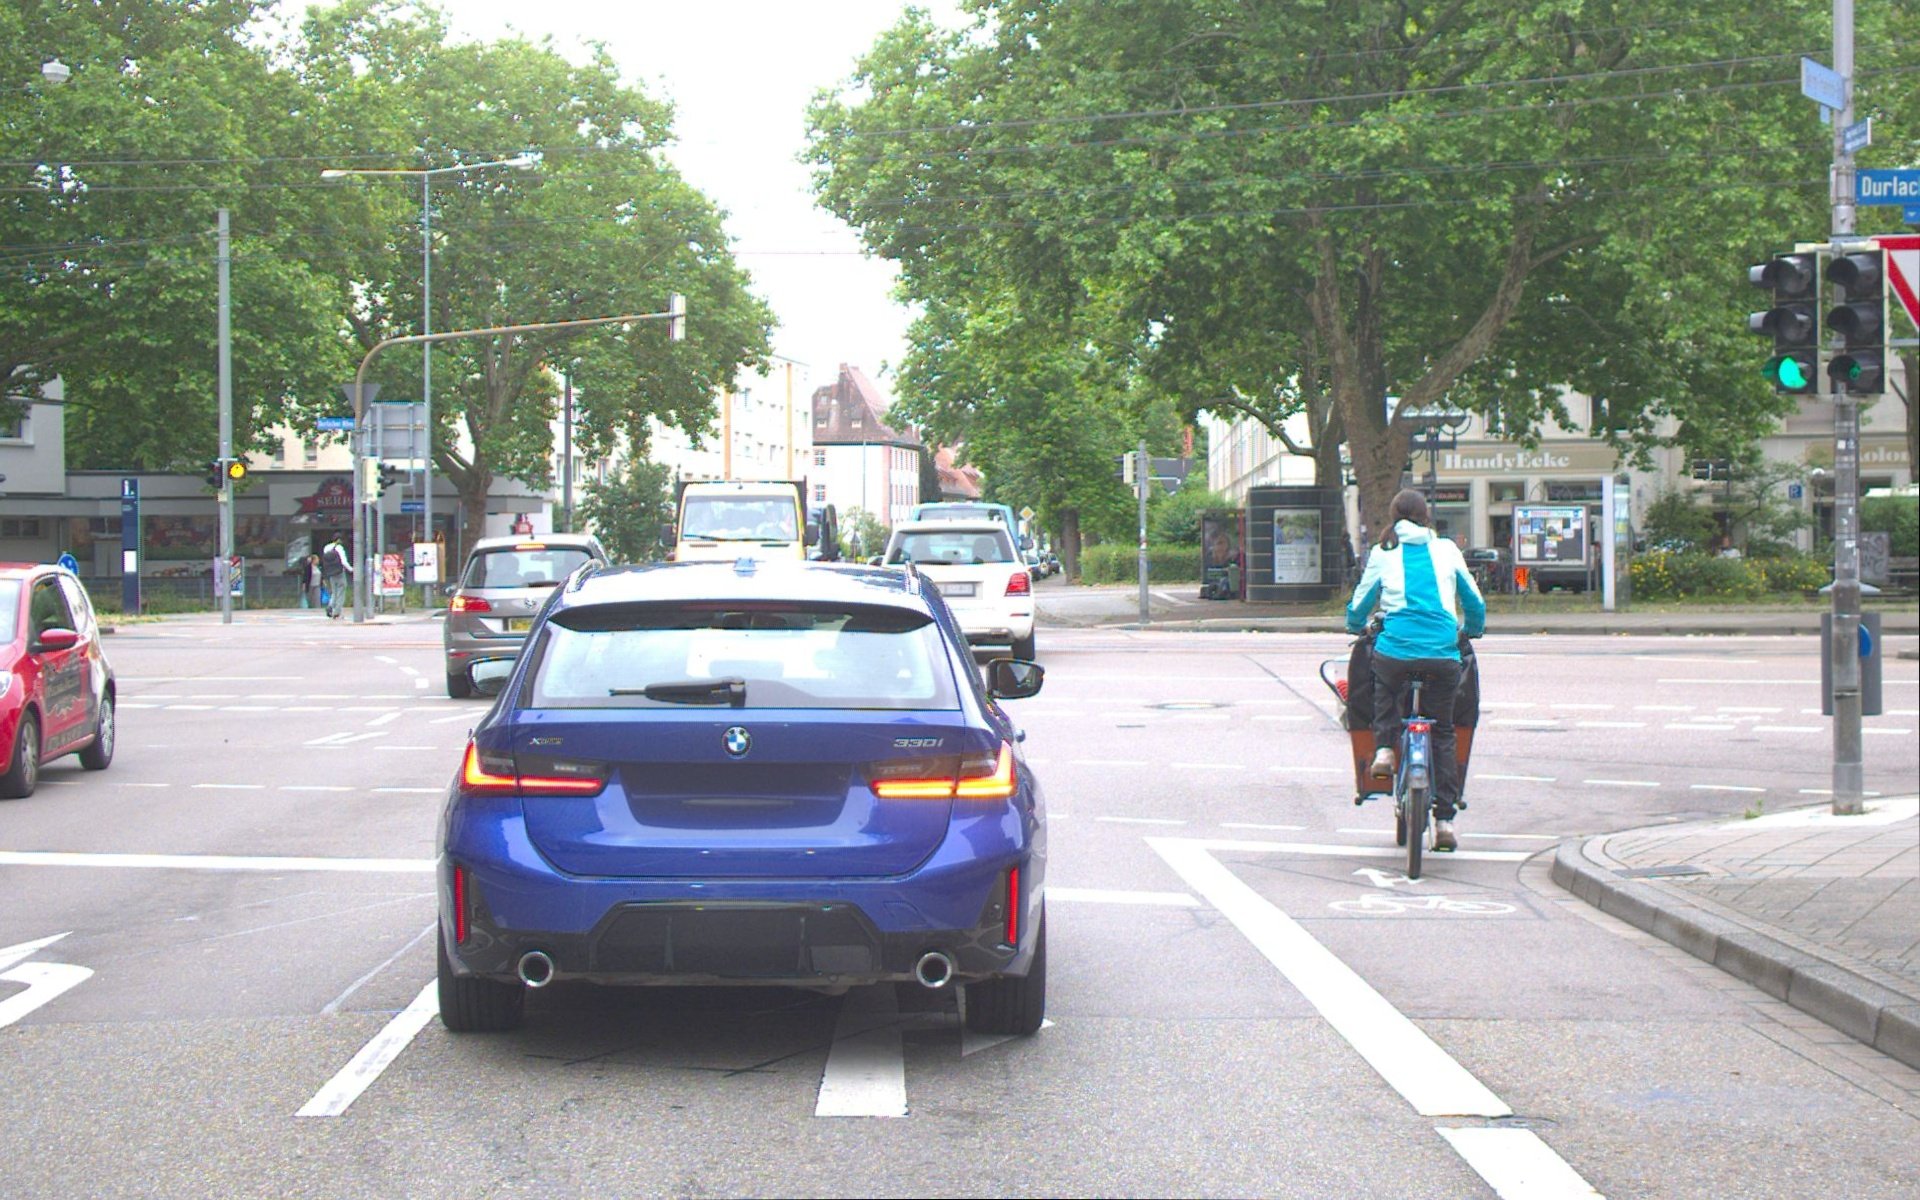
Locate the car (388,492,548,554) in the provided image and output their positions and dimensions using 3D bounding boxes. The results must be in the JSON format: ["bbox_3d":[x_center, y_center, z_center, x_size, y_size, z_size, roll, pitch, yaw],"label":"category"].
[{"bbox_3d":[-13.815,-2.145,96.584,3.987,1.700,2.000,0,0,-34],"label":"car"}]

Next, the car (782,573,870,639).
[{"bbox_3d":[-3.089,0.120,80.089,1.809,1.422,4.317,-1,1,1],"label":"car"}]

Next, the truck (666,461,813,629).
[{"bbox_3d":[-3.317,-0.854,52.684,2.074,2.400,5.463,-1,1,-2],"label":"truck"}]

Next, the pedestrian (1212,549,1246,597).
[{"bbox_3d":[7.329,-0.744,93.687,0.853,1.310,0.762,-1,1,0],"label":"pedestrian"}]

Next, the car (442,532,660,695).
[{"bbox_3d":[-4.050,0.090,34.581,1.732,1.519,4.000,-1,1,0],"label":"car"}]

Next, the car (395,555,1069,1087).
[{"bbox_3d":[-0.636,0.574,11.507,1.815,1.400,4.320,-1,1,0],"label":"car"}]

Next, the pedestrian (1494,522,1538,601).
[{"bbox_3d":[12.332,-0.861,76.291,0.784,1.737,0.925,-1,1,-2],"label":"pedestrian"}]

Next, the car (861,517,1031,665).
[{"bbox_3d":[-0.167,-0.137,39.203,1.815,1.586,4.000,-1,1,0],"label":"car"}]

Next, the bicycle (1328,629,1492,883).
[{"bbox_3d":[2.167,0.722,16.744,0.494,1.094,2.139,-1,1,0],"label":"bicycle"}]

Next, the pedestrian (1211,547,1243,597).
[{"bbox_3d":[7.352,-0.783,94.605,0.817,1.367,0.762,-1,1,0],"label":"pedestrian"}]

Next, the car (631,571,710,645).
[{"bbox_3d":[-8.271,0.213,98.562,1.920,2.007,3.936,-1,1,0],"label":"car"}]

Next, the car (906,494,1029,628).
[{"bbox_3d":[0.100,-0.623,53.491,1.815,1.998,4.000,-1,1,0],"label":"car"}]

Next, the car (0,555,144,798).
[{"bbox_3d":[-6.568,0.449,22.466,1.649,1.442,3.511,-1,1,0],"label":"car"}]

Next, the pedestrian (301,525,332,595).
[{"bbox_3d":[-16.351,-1.017,87.328,0.574,1.779,0.620,0,1,8],"label":"pedestrian"}]

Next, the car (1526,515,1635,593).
[{"bbox_3d":[17.751,-1.318,98.215,2.177,2.193,3.995,0,1,24],"label":"car"}]

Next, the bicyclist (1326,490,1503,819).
[{"bbox_3d":[2.159,0.241,16.428,0.686,1.512,1.058,-1,1,0],"label":"bicyclist"}]
